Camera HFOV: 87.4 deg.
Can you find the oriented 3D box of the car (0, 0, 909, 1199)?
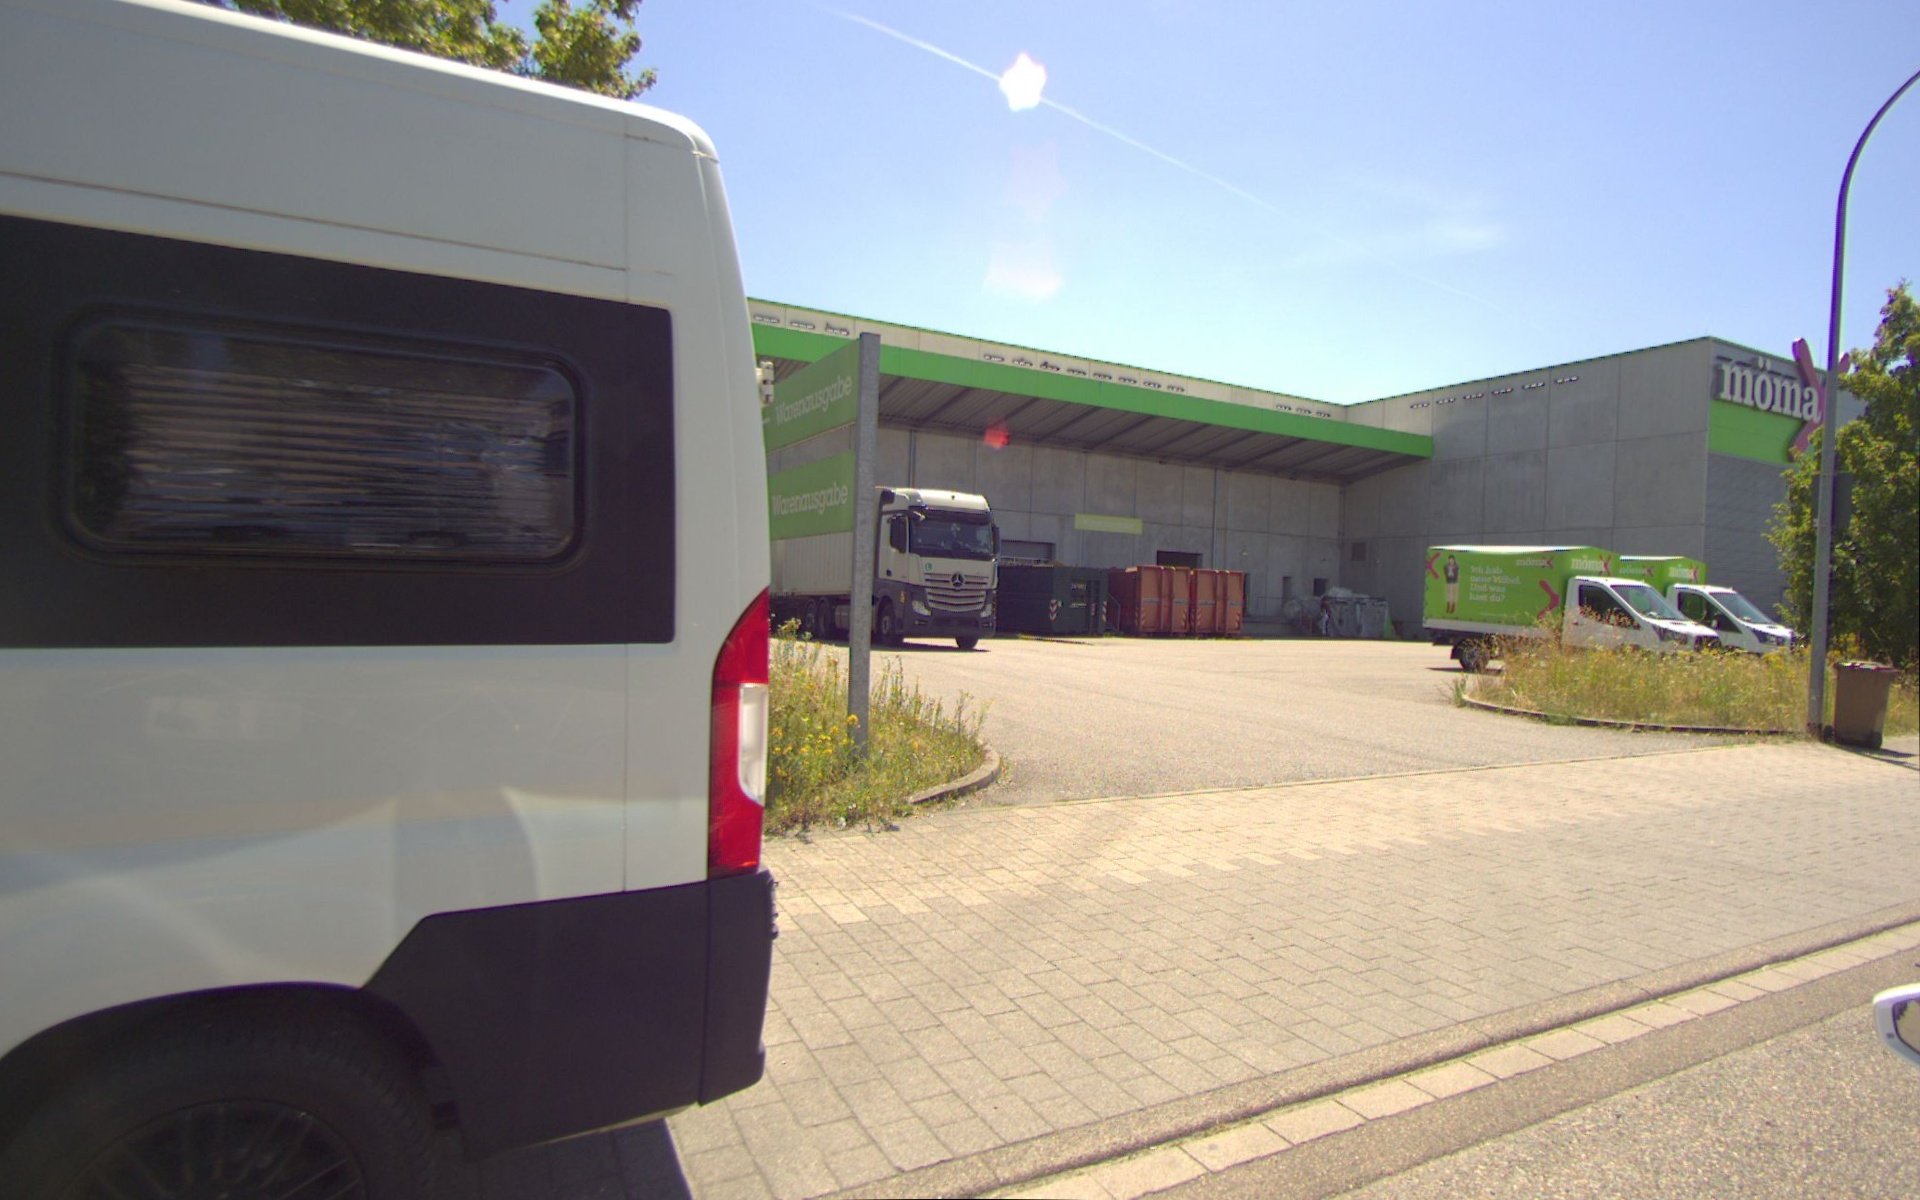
[{"bbox_3d":[-3.336,-0.014,1.781,6.008,2.633,2.313,2,2,-28],"label":"car"}]

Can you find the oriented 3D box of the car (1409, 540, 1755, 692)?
[{"bbox_3d":[13.335,0.247,22.098,2.490,2.862,5.948,2,1,-28],"label":"car"}]

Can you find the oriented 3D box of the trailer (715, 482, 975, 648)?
[{"bbox_3d":[-4.519,-0.893,32.596,3.178,4.142,15.263,2,0,-27],"label":"trailer"}]

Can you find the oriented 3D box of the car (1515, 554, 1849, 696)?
[{"bbox_3d":[17.025,0.459,24.156,2.490,2.965,5.948,2,1,-28],"label":"car"}]

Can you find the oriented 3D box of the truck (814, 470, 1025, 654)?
[{"bbox_3d":[-1.261,-0.840,26.192,3.178,4.142,6.082,2,0,-27],"label":"truck"}]

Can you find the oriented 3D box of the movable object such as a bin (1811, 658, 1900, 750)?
[{"bbox_3d":[10.209,1.166,11.451,0.675,0.963,0.545,2,1,-30],"label":"movable object such as a bin"}]
